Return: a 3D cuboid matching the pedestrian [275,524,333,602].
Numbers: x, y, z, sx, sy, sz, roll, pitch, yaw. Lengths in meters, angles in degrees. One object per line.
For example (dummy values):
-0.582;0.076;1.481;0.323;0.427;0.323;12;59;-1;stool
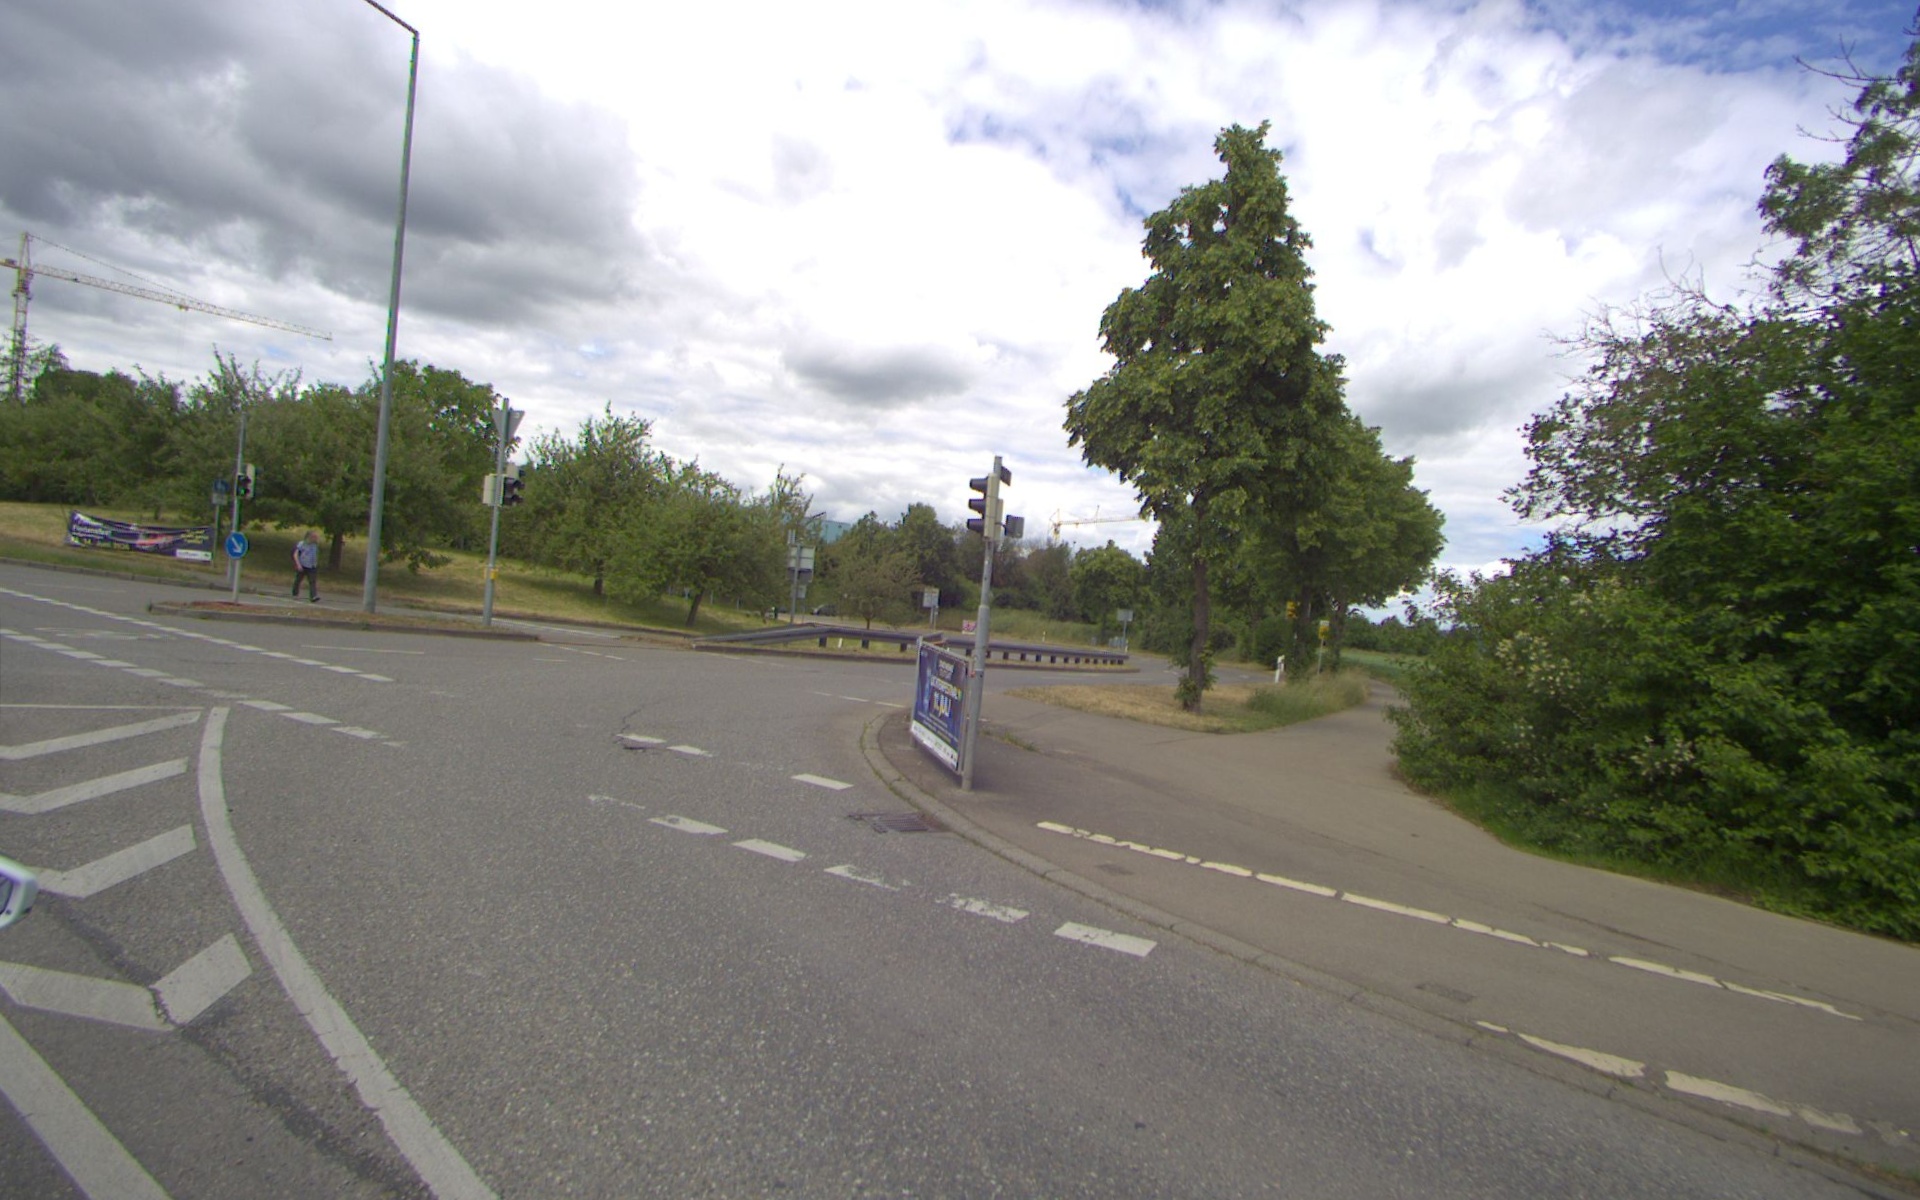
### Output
-16.524;-0.927;25.334;1.027;1.814;0.719;6;-1;35;pedestrian
